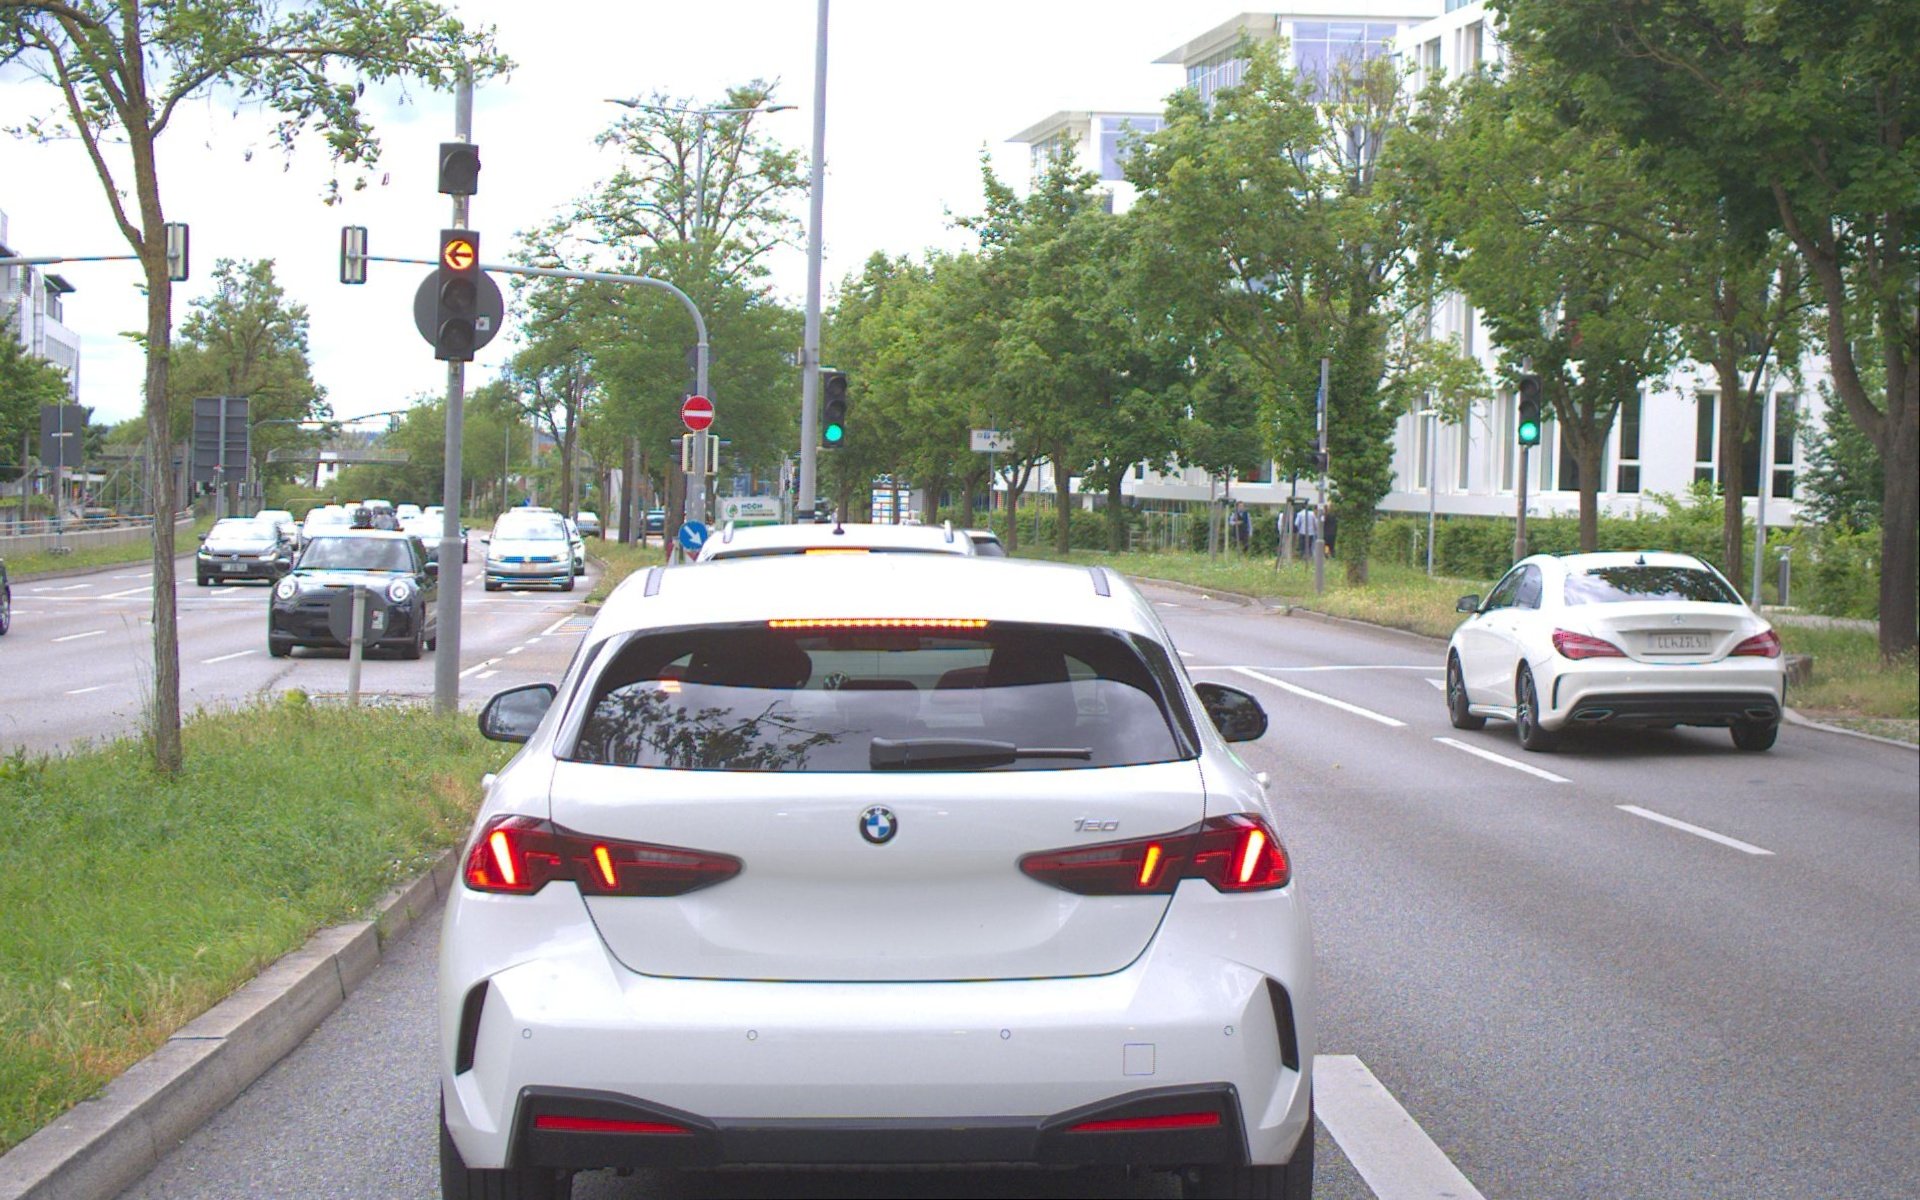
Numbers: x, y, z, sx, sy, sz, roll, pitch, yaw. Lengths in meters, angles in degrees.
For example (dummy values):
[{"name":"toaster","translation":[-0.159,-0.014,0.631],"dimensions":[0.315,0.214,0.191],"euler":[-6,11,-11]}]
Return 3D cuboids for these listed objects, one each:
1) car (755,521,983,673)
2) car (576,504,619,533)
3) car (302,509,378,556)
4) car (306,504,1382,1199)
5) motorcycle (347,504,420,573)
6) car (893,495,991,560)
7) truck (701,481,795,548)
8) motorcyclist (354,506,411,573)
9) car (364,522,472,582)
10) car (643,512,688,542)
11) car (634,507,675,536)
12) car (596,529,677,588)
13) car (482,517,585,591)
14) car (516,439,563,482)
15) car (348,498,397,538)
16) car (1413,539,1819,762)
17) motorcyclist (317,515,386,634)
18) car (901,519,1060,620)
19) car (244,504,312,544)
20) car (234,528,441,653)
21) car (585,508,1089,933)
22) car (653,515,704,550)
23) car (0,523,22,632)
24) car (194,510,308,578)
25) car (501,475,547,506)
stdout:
[{"name":"car","translation":[-0.917,-0.051,37.168],"dimensions":[1.994,1.503,3.999],"euler":[1,1,5]},{"name":"car","translation":[-19.100,-4.300,181.152],"dimensions":[1.993,1.485,4.001],"euler":[2,1,-3]},{"name":"car","translation":[-19.276,-2.107,107.041],"dimensions":[1.708,1.414,3.803],"euler":[0,1,-1]},{"name":"car","translation":[-0.149,0.552,8.030],"dimensions":[1.863,1.444,4.000],"euler":[1,1,2]},{"name":"motorcycle","translation":[-12.183,-1.306,72.797],"dimensions":[0.889,1.393,4.000],"euler":[1,1,-1]},{"name":"car","translation":[-0.489,-1.866,88.498],"dimensions":[1.993,1.590,4.001],"euler":[1,1,-8]},{"name":"truck","translation":[-8.317,-3.311,134.228],"dimensions":[2.858,2.511,6.289],"euler":[1,1,-11]},{"name":"motorcyclist","translation":[-12.191,-1.278,72.649],"dimensions":[0.910,1.387,1.674],"euler":[1,1,-1]},{"name":"car","translation":[-13.017,-1.170,82.796],"dimensions":[1.993,1.349,4.000],"euler":[1,1,-1]},{"name":"car","translation":[-15.292,-3.808,178.591],"dimensions":[1.993,1.503,4.001],"euler":[1,1,-9]},{"name":"car","translation":[-16.065,-4.142,181.071],"dimensions":[1.993,1.485,4.001],"euler":[2,1,-3]},{"name":"car","translation":[-8.044,-1.053,85.661],"dimensions":[1.667,1.400,4.000],"euler":[1,1,-1]},{"name":"car","translation":[-8.889,-0.968,71.841],"dimensions":[1.708,1.492,3.803],"euler":[0,1,-1]},{"name":"car","translation":[-21.271,-7.033,174.168],"dimensions":[1.993,2.004,4.325],"euler":[3,1,-3]},{"name":"car","translation":[-30.274,-4.239,177.167],"dimensions":[1.993,2.004,4.325],"euler":[1,1,-3]},{"name":"car","translation":[4.758,0.313,25.646],"dimensions":[1.793,1.467,4.700],"euler":[1,1,-4]},{"name":"motorcyclist","translation":[-9.561,-0.410,54.050],"dimensions":[0.848,1.830,1.259],"euler":[1,1,-1]},{"name":"car","translation":[0.268,-0.528,55.263],"dimensions":[2.053,1.481,4.974],"euler":[-1,2,-5]},{"name":"car","translation":[-24.378,-2.708,123.038],"dimensions":[1.708,1.414,3.803],"euler":[0,1,-1]},{"name":"car","translation":[-7.158,-0.143,39.856],"dimensions":[1.754,1.366,3.780],"euler":[0,1,-1]},{"name":"car","translation":[-0.490,0.461,15.847],"dimensions":[1.993,1.666,4.000],"euler":[1,1,0]},{"name":"car","translation":[-12.461,-2.985,151.999],"dimensions":[1.993,1.503,4.001],"euler":[1,1,-8]},{"name":"car","translation":[-13.213,-0.275,43.420],"dimensions":[1.708,1.414,4.019],"euler":[0,1,-1]},{"name":"car","translation":[-15.182,-1.200,73.743],"dimensions":[1.708,1.414,3.803],"euler":[0,1,-1]},{"name":"car","translation":[-24.246,-6.080,191.281],"dimensions":[1.993,1.612,4.000],"euler":[3,1,-1]}]
